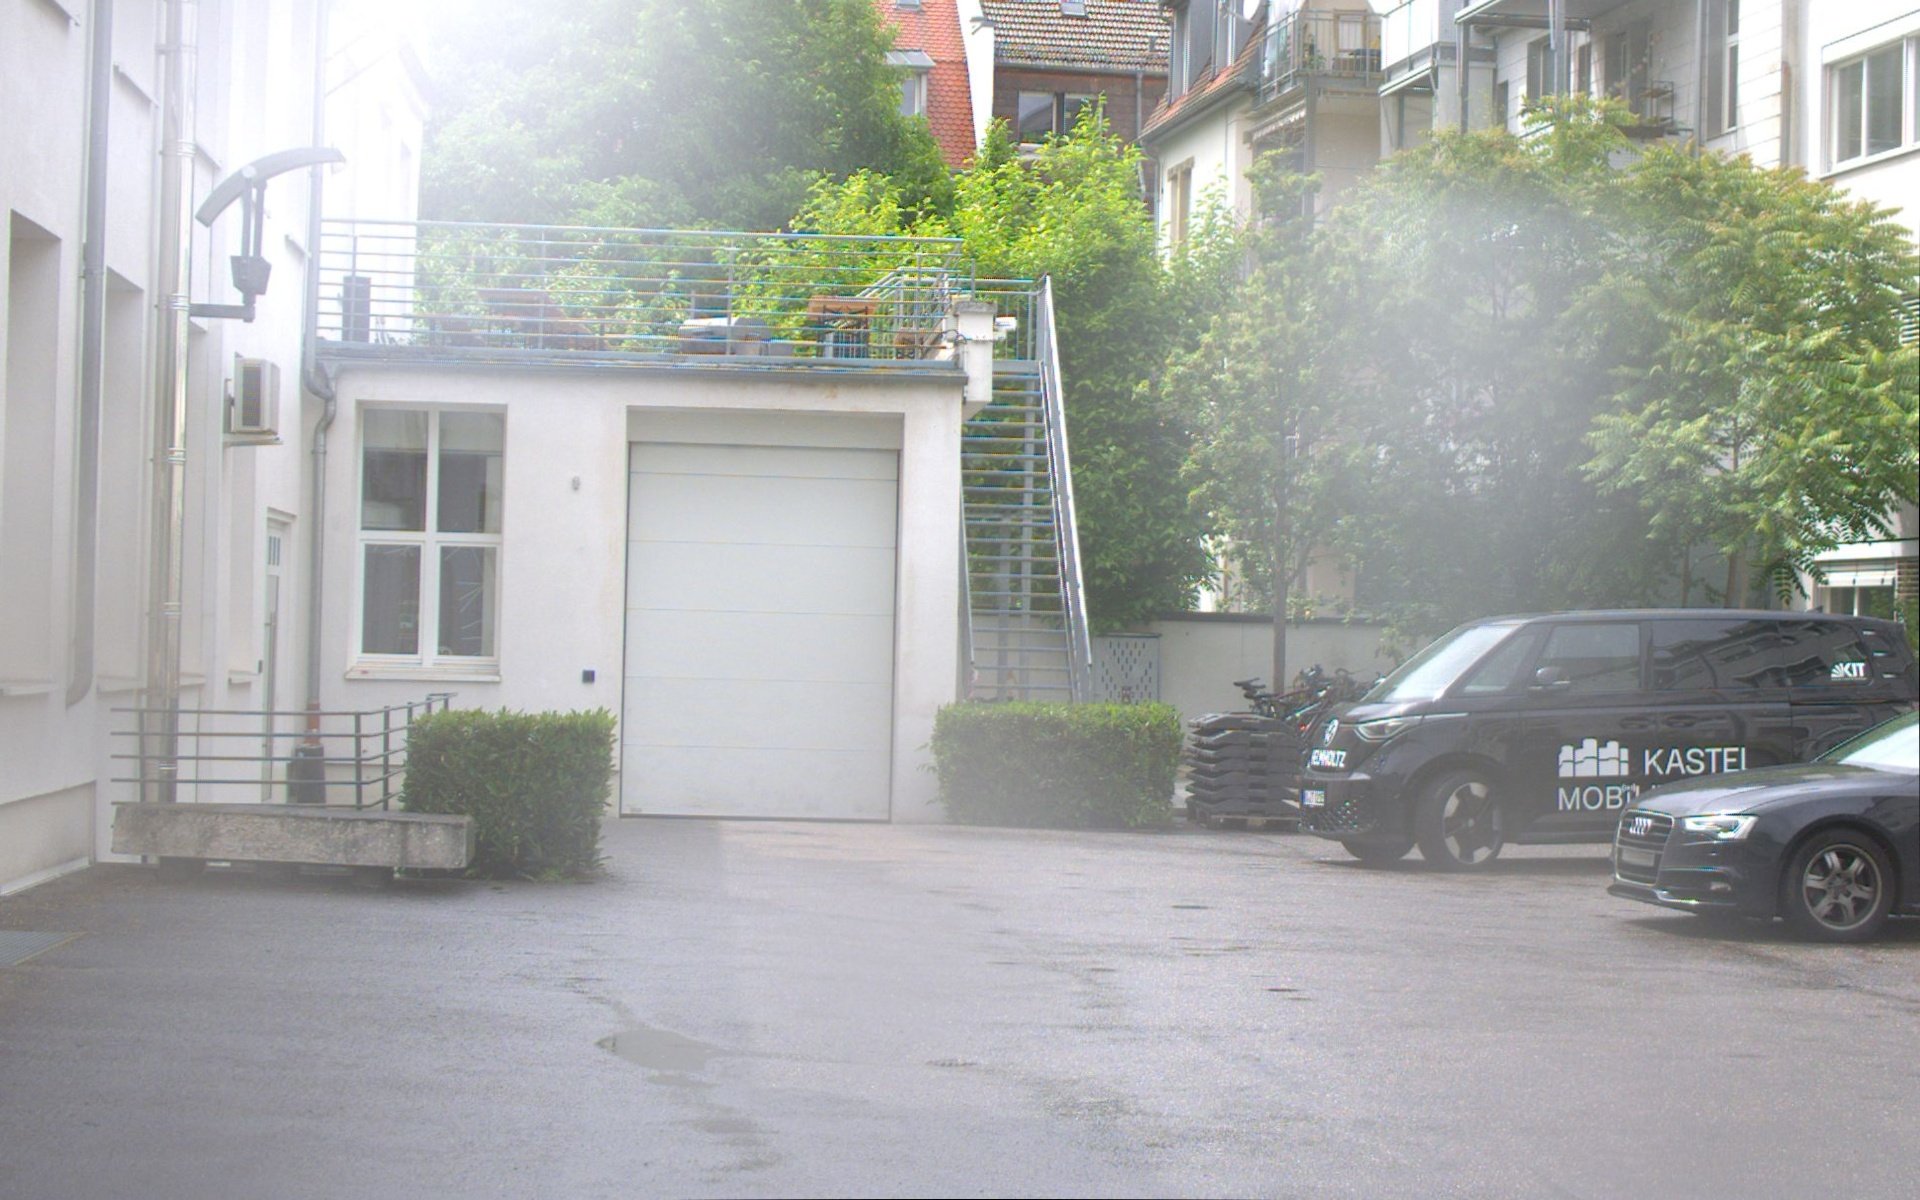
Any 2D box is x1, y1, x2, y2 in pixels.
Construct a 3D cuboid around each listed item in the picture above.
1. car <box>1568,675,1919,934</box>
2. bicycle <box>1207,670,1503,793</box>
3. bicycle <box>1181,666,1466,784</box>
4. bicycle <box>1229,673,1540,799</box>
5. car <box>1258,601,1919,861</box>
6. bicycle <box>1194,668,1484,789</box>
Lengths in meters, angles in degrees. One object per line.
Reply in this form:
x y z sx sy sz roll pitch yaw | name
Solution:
5.931 1.167 19.868 4.352 1.344 1.861 1 0 -11 | car
3.991 1.329 34.809 2.842 1.074 0.689 3 0 -7 | bicycle
3.826 1.314 36.238 2.842 1.074 0.689 3 0 -7 | bicycle
4.201 1.343 34.049 2.922 1.074 0.689 3 0 -7 | bicycle
4.794 0.950 25.618 4.708 1.827 2.111 1 0 -11 | car
3.911 1.321 35.528 2.842 1.074 0.689 3 0 -7 | bicycle
